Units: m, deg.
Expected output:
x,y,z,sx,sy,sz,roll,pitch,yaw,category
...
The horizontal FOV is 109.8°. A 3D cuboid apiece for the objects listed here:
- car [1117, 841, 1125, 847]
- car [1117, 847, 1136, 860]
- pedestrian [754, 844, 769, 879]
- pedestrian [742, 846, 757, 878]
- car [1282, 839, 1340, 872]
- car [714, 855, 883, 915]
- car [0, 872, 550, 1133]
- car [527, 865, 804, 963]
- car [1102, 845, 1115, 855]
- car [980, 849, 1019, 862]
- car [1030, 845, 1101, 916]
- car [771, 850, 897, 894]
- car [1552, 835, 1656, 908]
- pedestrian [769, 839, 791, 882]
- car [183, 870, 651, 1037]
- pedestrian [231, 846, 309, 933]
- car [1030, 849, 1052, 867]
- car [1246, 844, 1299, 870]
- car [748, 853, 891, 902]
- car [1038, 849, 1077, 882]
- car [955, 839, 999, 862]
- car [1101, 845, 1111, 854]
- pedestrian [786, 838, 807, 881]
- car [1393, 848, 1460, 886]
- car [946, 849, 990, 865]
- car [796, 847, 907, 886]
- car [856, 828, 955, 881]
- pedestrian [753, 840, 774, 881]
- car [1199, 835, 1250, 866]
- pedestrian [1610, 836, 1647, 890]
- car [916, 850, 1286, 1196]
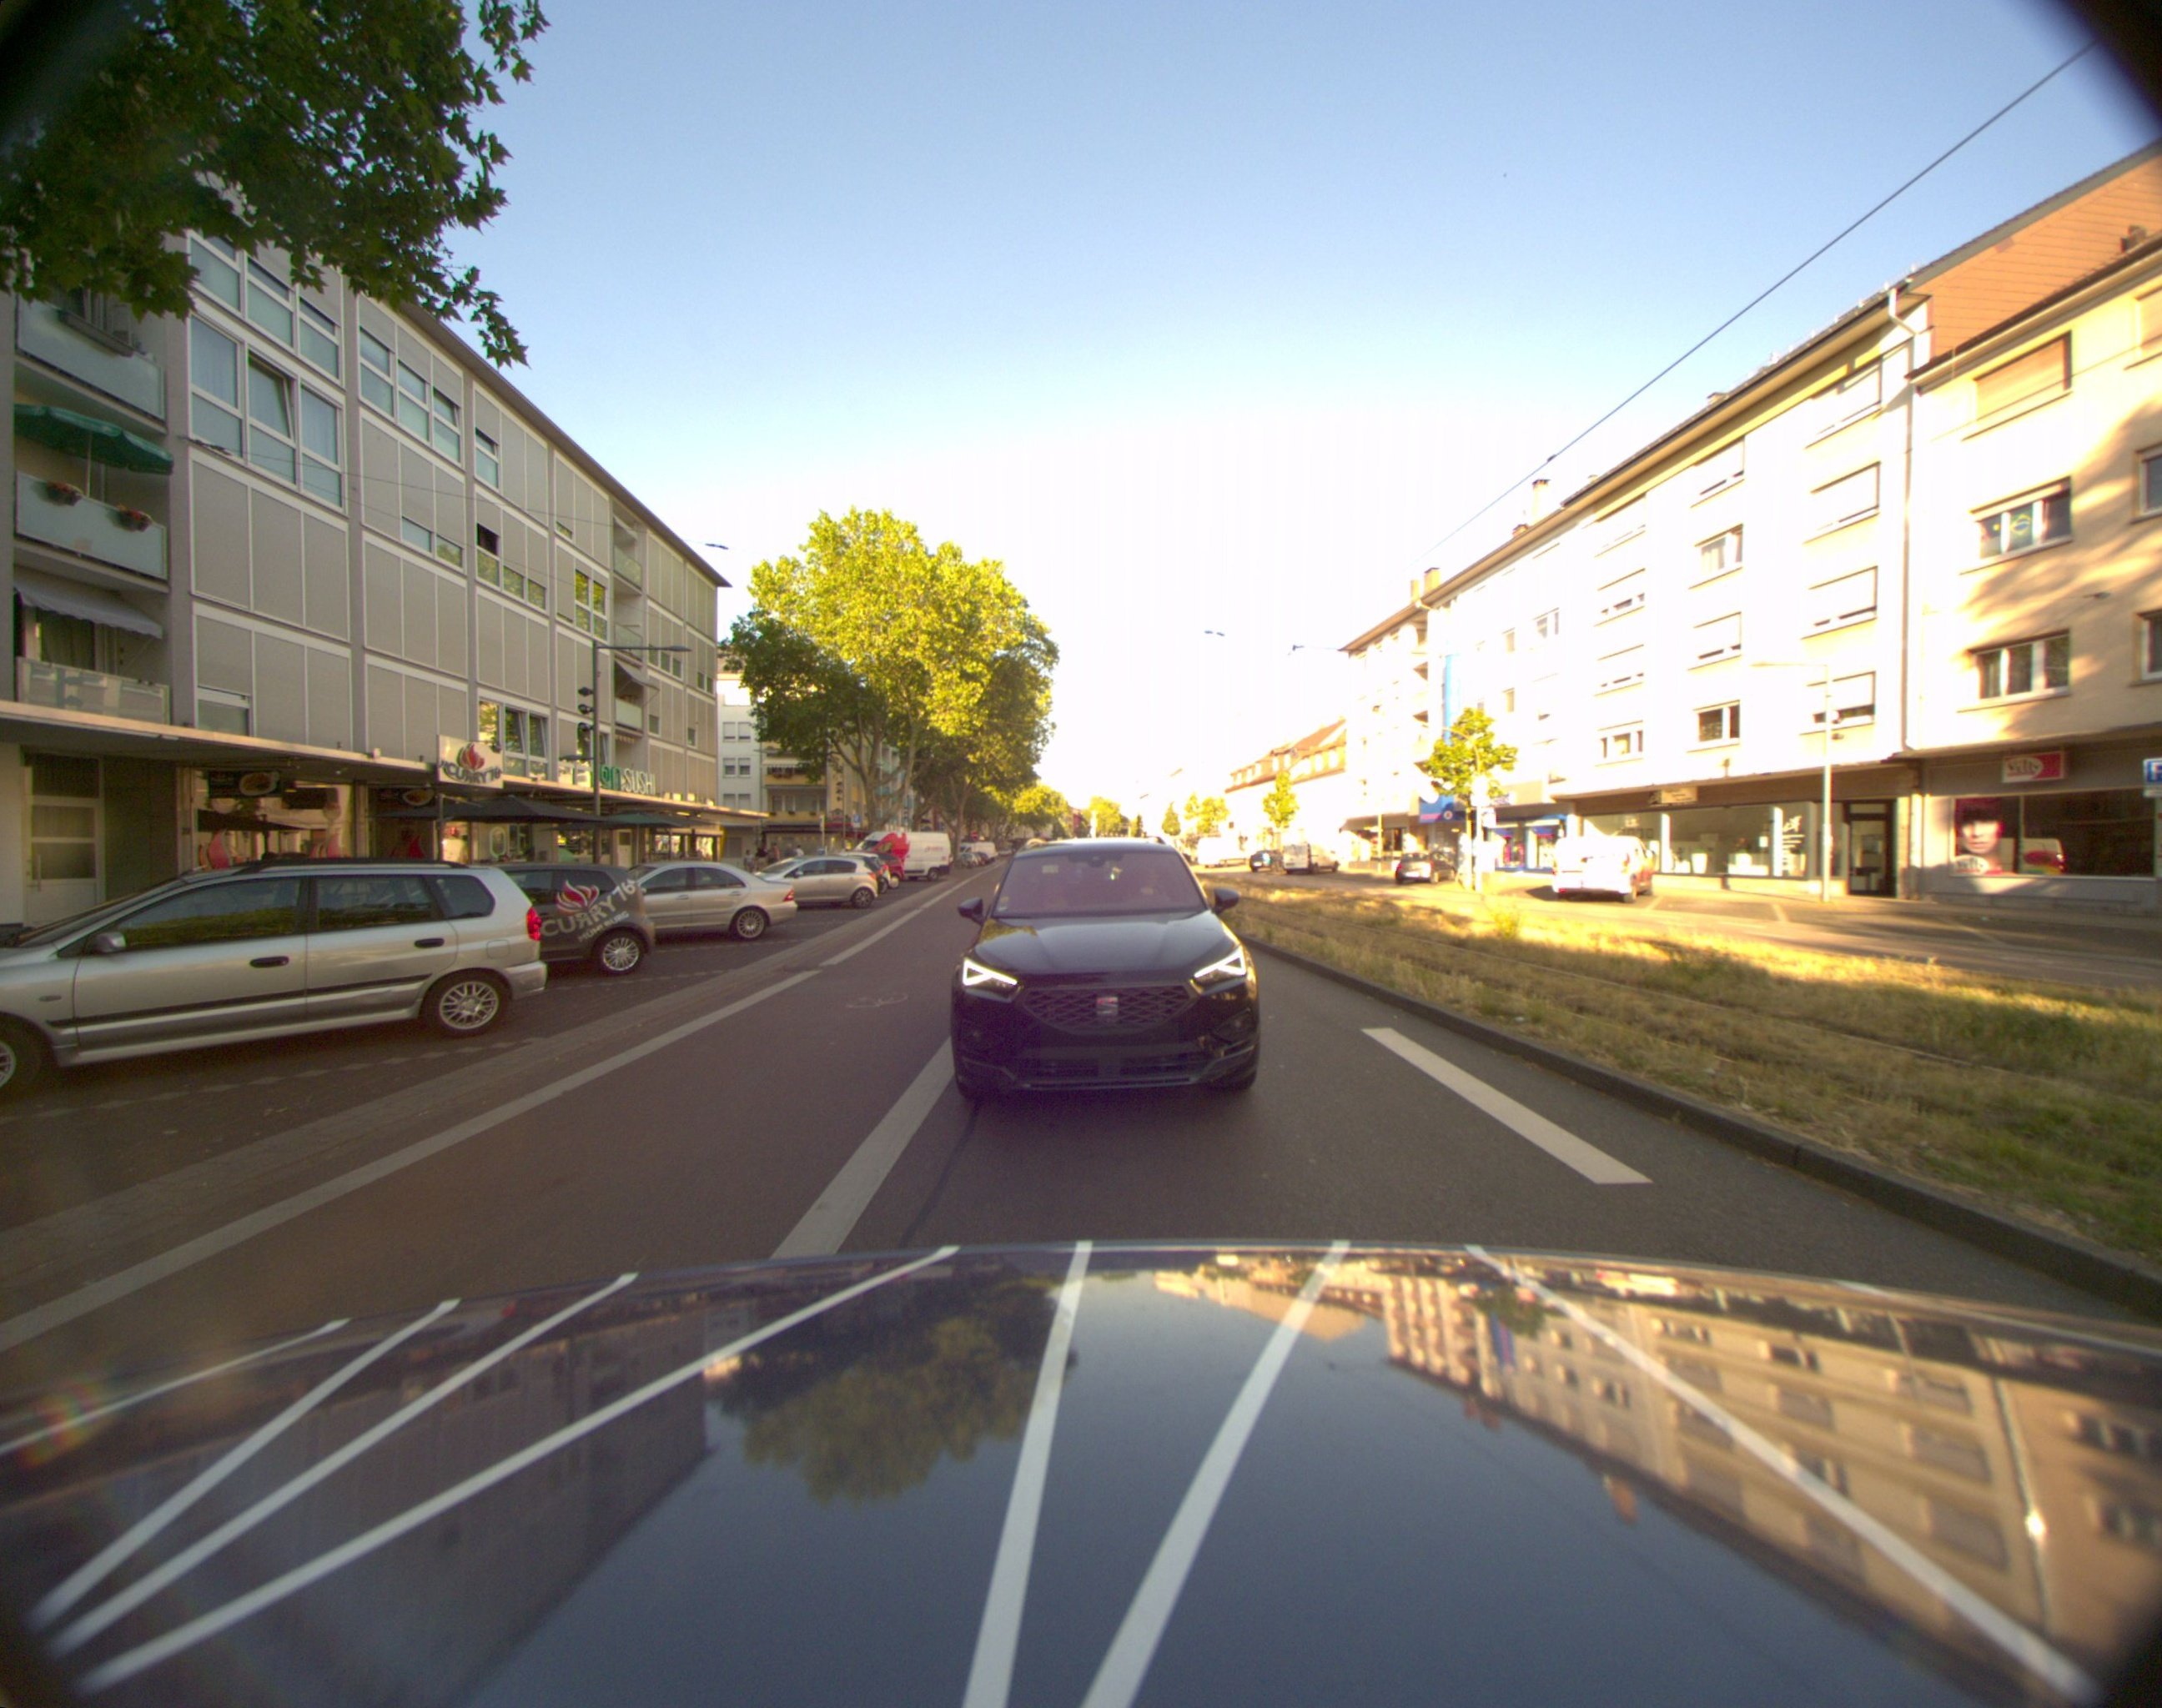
x,y,z,sx,sy,sz,roll,pitch,yaw,category
11.783,-2.922,223.829,2.497,1.871,5.274,0,1,3,car
5.675,-0.121,94.703,1.846,1.571,4.448,0,1,-3,car
-16.148,0.376,38.439,0.545,1.710,0.457,0,1,-4,pedestrian
-16.720,0.404,38.362,0.537,1.630,0.478,0,1,-4,pedestrian
14.547,0.090,47.851,1.853,1.927,4.513,-1,1,40,car
-7.542,0.788,20.502,3.950,1.420,1.555,1,1,-45,car
-6.853,0.970,6.034,1.672,1.533,3.993,2,1,38,car
-7.131,0.921,13.353,1.592,1.393,3.950,2,1,41,car
4.957,-0.690,136.404,1.999,1.783,3.998,0,1,-4,car
-8.866,0.160,82.733,1.778,1.326,3.943,1,1,44,car
-0.383,0.629,20.307,1.646,1.646,3.999,-2,1,-1,car
-8.837,0.641,27.260,3.948,1.421,1.672,2,2,-32,car
15.604,0.457,22.587,1.853,1.888,4.007,-1,2,44,car
-14.343,0.309,36.198,0.748,2.002,0.764,0,1,-4,pedestrian
-7.587,0.962,9.046,1.672,1.420,3.950,2,1,38,car
-15.084,0.640,14.158,0.583,1.573,0.771,0,1,2,pedestrian
-3.482,0.302,67.058,1.729,1.443,4.227,-2,1,-1,car
13.816,0.196,54.679,3.922,1.704,1.853,-2,1,-45,car
-8.260,0.726,24.110,3.949,1.420,1.672,1,1,-34,car
-1.106,0.513,37.186,1.729,1.467,3.999,-2,1,-1,car
-11.573,-0.418,85.028,1.973,2.454,4.605,1,1,44,car
5.514,-0.940,169.353,1.906,2.002,3.998,0,1,-5,car
-13.446,0.270,35.924,0.748,2.002,0.559,0,1,-4,pedestrian
15.505,0.548,33.969,1.731,1.489,4.008,-1,1,40,car
-10.795,0.277,72.882,1.778,1.396,3.943,1,1,44,car
-9.201,0.504,30.546,3.948,1.421,1.672,1,2,-32,car
-8.688,0.053,37.896,4.606,2.479,1.672,0,0,-44,car
-15.139,0.305,36.226,0.748,1.964,0.575,0,1,-4,pedestrian
13.042,-0.360,68.642,1.922,2.599,6.601,-1,1,34,car
18.989,0.302,26.372,0.756,1.817,0.918,-1,1,13,pedestrian
0.136,0.840,5.789,1.785,1.639,3.999,-2,1,1,car
